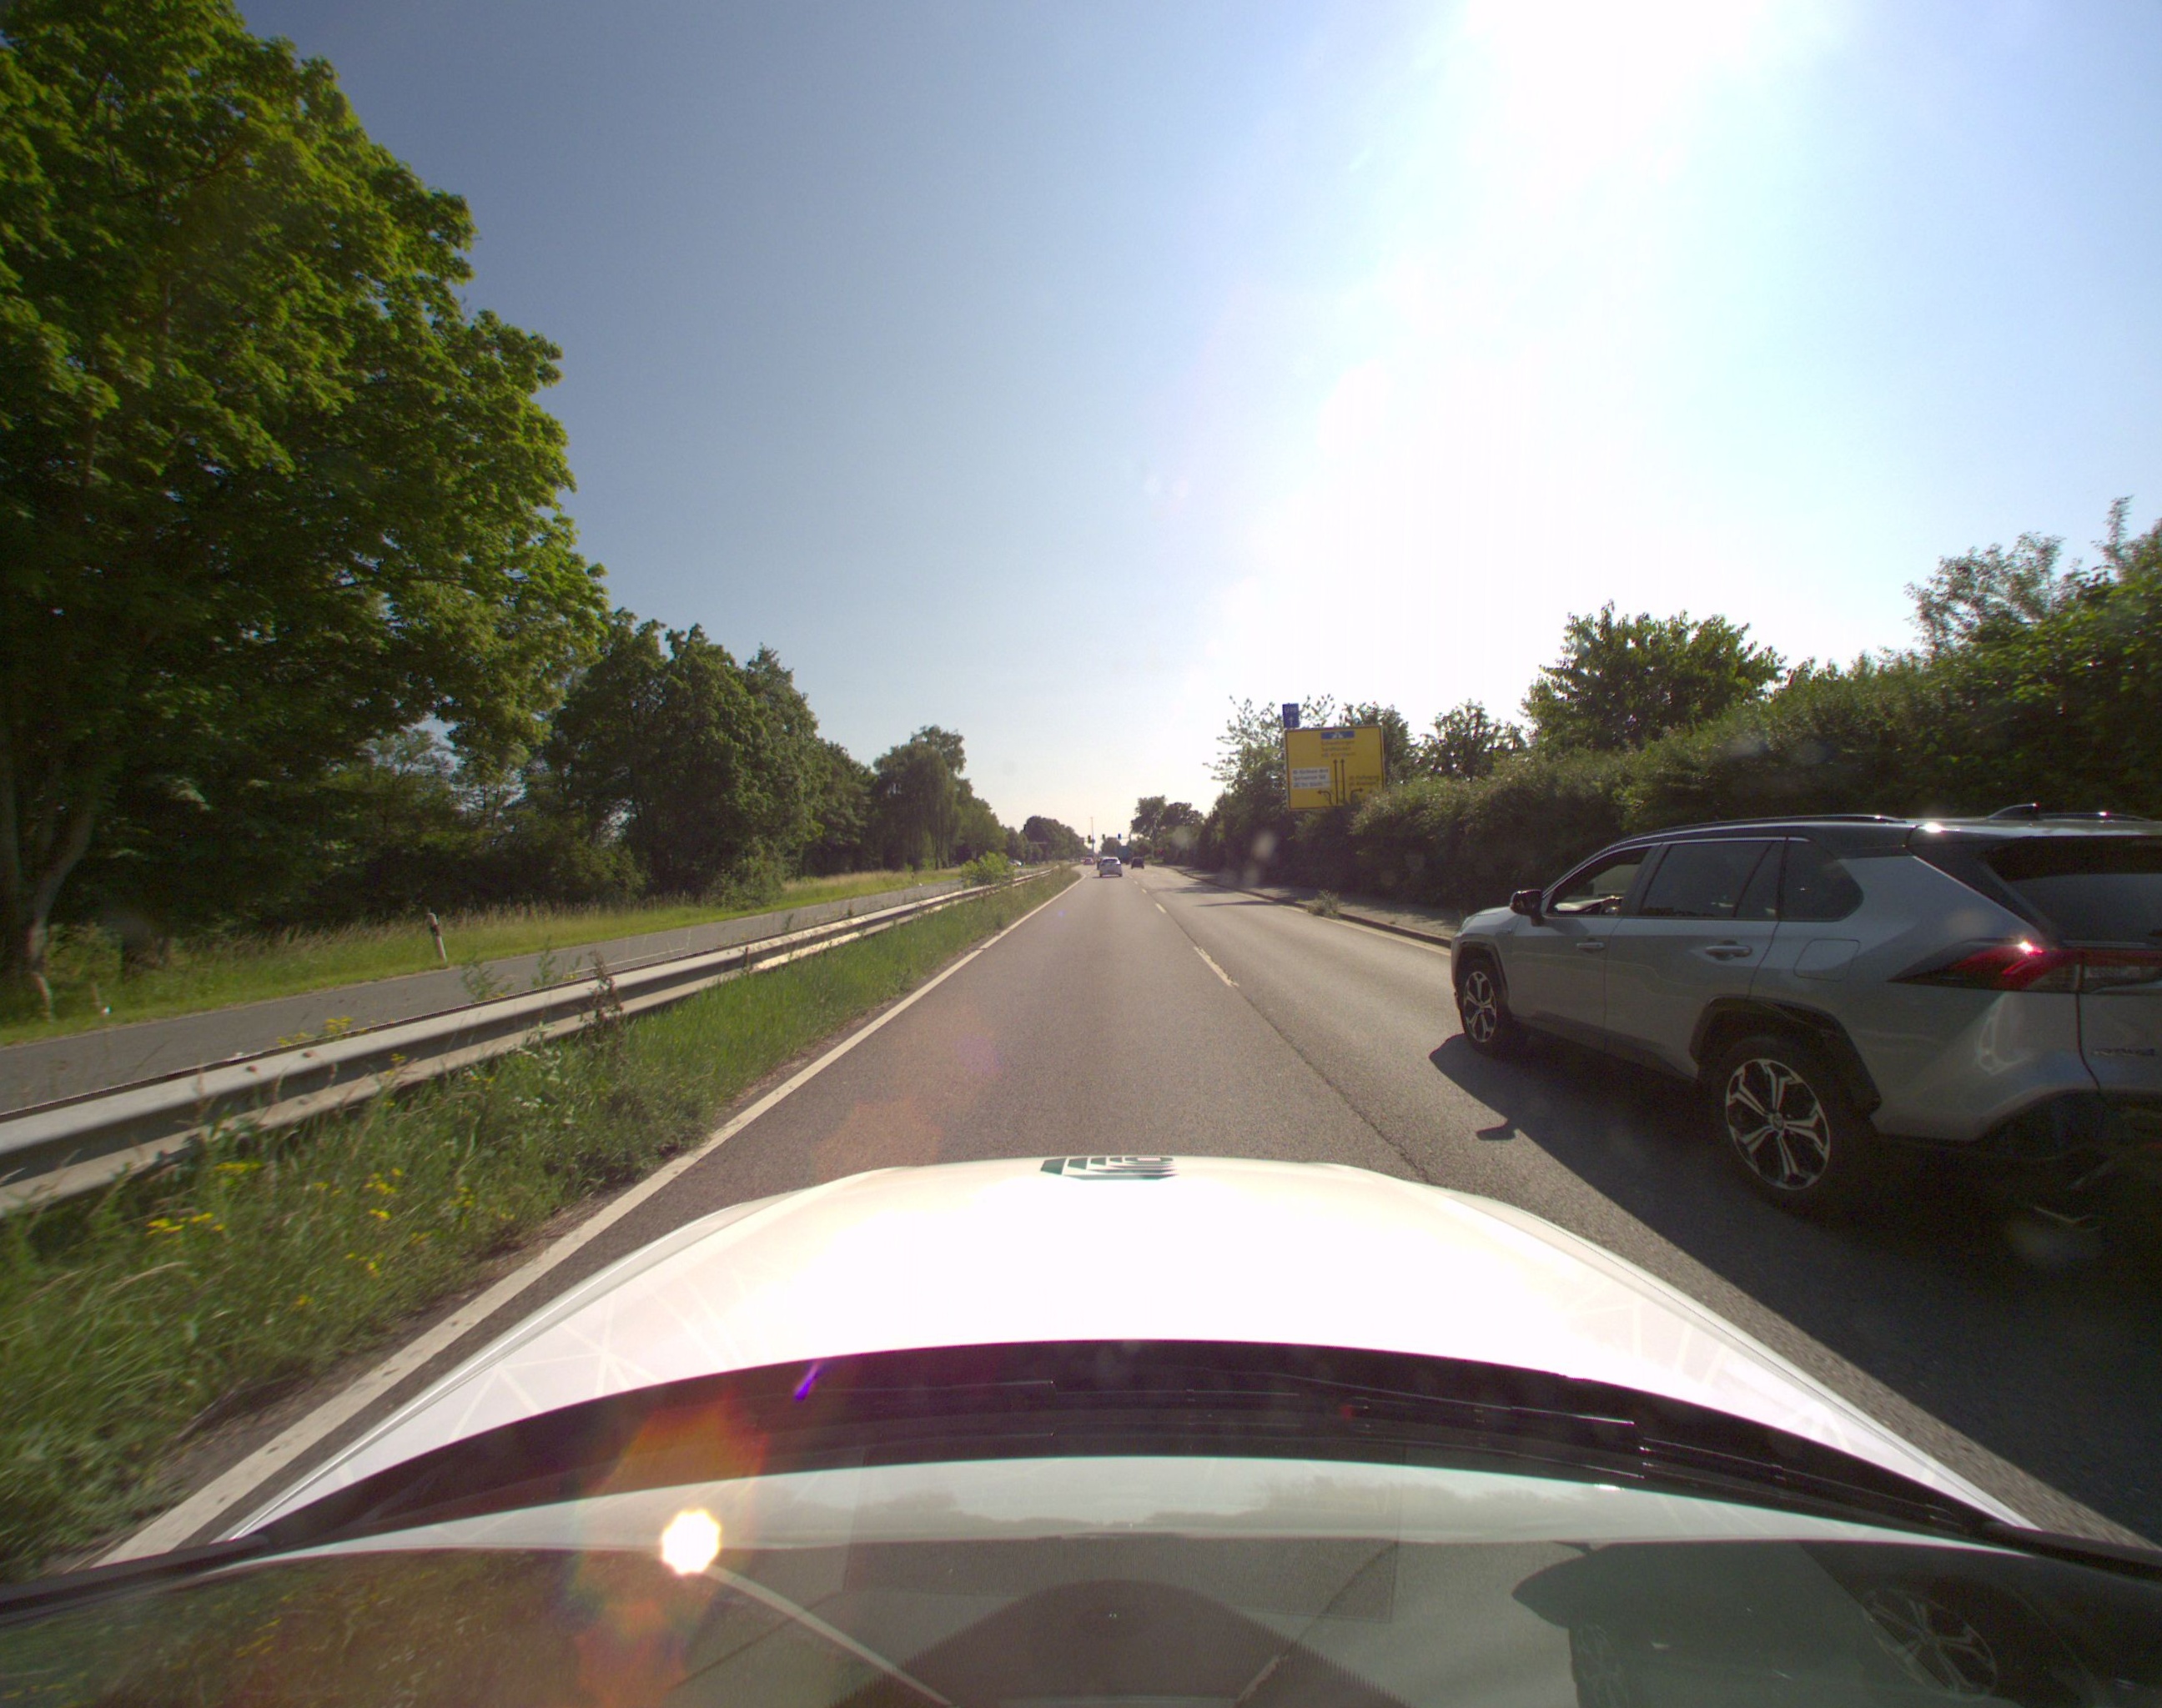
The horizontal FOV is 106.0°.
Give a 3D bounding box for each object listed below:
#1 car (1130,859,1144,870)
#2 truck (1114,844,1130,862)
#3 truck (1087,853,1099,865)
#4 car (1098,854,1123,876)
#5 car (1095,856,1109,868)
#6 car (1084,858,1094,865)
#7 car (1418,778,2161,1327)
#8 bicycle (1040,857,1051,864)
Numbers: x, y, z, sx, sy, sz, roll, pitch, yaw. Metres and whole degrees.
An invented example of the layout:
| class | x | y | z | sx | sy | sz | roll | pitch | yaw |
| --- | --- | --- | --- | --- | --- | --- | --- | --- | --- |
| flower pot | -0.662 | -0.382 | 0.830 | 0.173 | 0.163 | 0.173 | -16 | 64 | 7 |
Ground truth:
| class | x | y | z | sx | sy | sz | roll | pitch | yaw |
| --- | --- | --- | --- | --- | --- | --- | --- | --- | --- |
| car | 7.036 | 1.319 | 102.095 | 1.566 | 1.414 | 3.278 | -2 | -1 | 2 |
| truck | 8.168 | -0.205 | 161.914 | 2.881 | 3.428 | 9.172 | -2 | 0 | 2 |
| truck | 2.570 | 1.074 | 173.748 | 2.364 | 2.389 | 6.045 | -1 | 0 | 3 |
| car | 2.200 | 0.776 | 61.312 | 1.792 | 1.553 | 4.002 | -1 | 0 | 2 |
| car | 2.499 | 0.921 | 96.534 | 1.566 | 1.414 | 3.278 | 0 | 0 | 2 |
| car | 1.648 | 1.522 | 166.525 | 1.805 | 1.464 | 4.974 | 0 | -1 | 3 |
| car | 3.871 | 0.606 | 4.835 | 1.895 | 1.680 | 4.684 | -1 | 0 | 1 |
| bicycle | -9.522 | 1.749 | 218.096 | 2.765 | 1.670 | 1.143 | -3 | 0 | 28 |
